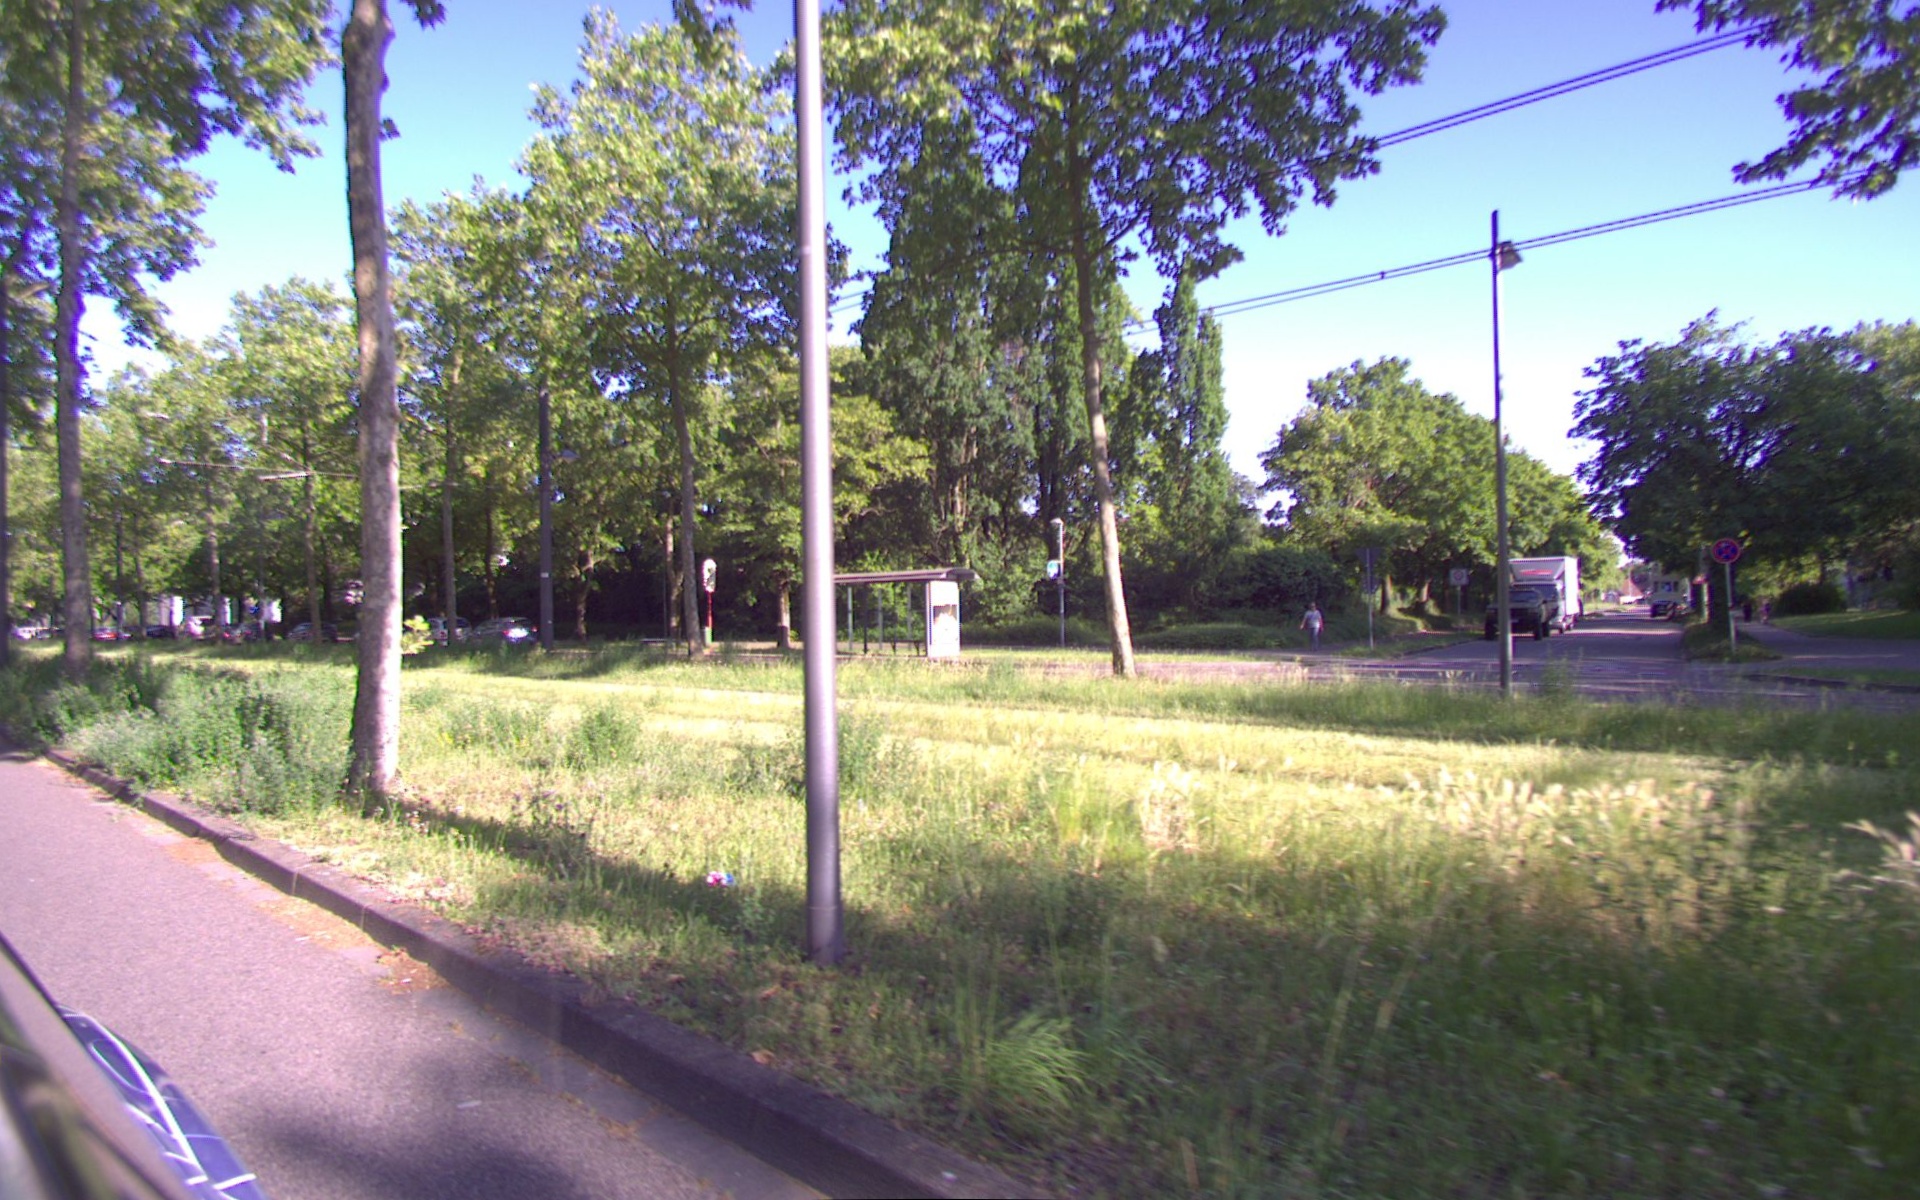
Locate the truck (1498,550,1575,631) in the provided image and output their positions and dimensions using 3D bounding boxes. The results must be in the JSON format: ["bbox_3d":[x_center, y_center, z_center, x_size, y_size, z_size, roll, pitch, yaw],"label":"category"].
[{"bbox_3d":[29.439,-0.480,51.511,2.740,3.779,8.417,-1,0,34],"label":"truck"}]

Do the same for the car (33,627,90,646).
[{"bbox_3d":[-97.361,3.938,109.764,1.878,1.721,4.490,-2,1,8],"label":"car"}]

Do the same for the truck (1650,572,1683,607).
[{"bbox_3d":[68.824,-1.066,98.709,2.518,3.218,6.465,-1,1,34],"label":"truck"}]

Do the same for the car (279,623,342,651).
[{"bbox_3d":[-39.323,2.243,61.254,4.173,1.499,1.821,-2,3,38],"label":"car"}]

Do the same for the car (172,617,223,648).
[{"bbox_3d":[-56.863,2.429,75.438,4.273,2.072,1.963,-1,4,39],"label":"car"}]

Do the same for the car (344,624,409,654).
[{"bbox_3d":[-31.563,2.085,54.710,4.020,1.429,1.702,-1,3,40],"label":"car"}]

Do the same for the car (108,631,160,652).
[{"bbox_3d":[-70.562,3.511,86.533,1.857,1.579,4.011,-2,1,-14],"label":"car"}]

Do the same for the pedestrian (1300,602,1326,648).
[{"bbox_3d":[11.775,0.835,33.754,0.526,1.502,0.588,-2,1,-38],"label":"pedestrian"}]

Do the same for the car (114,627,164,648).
[{"bbox_3d":[-76.662,3.453,94.544,1.868,1.721,4.513,-2,1,-14],"label":"car"}]

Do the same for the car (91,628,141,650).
[{"bbox_3d":[-79.267,3.633,95.109,1.868,1.721,4.513,-2,1,-14],"label":"car"}]

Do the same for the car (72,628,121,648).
[{"bbox_3d":[-85.030,3.694,99.714,1.868,1.721,4.513,-2,1,-14],"label":"car"}]

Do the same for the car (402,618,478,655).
[{"bbox_3d":[-25.804,1.764,50.145,4.186,1.608,1.797,-1,3,40],"label":"car"}]

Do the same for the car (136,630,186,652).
[{"bbox_3d":[-67.443,3.434,85.470,1.857,1.579,4.011,-2,1,-14],"label":"car"}]

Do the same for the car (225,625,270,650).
[{"bbox_3d":[-47.585,2.488,67.559,3.566,1.499,1.526,-2,3,40],"label":"car"}]

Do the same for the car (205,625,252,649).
[{"bbox_3d":[-51.454,2.581,71.177,3.814,1.507,1.733,-1,3,40],"label":"car"}]

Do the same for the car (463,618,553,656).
[{"bbox_3d":[-20.751,1.664,46.350,4.624,1.499,1.879,-1,3,40],"label":"car"}]

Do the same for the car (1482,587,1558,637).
[{"bbox_3d":[23.906,0.473,43.106,2.220,1.963,6.081,-1,0,35],"label":"car"}]

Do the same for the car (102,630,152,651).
[{"bbox_3d":[-73.381,3.552,89.206,1.857,1.579,4.011,-2,1,-14],"label":"car"}]
